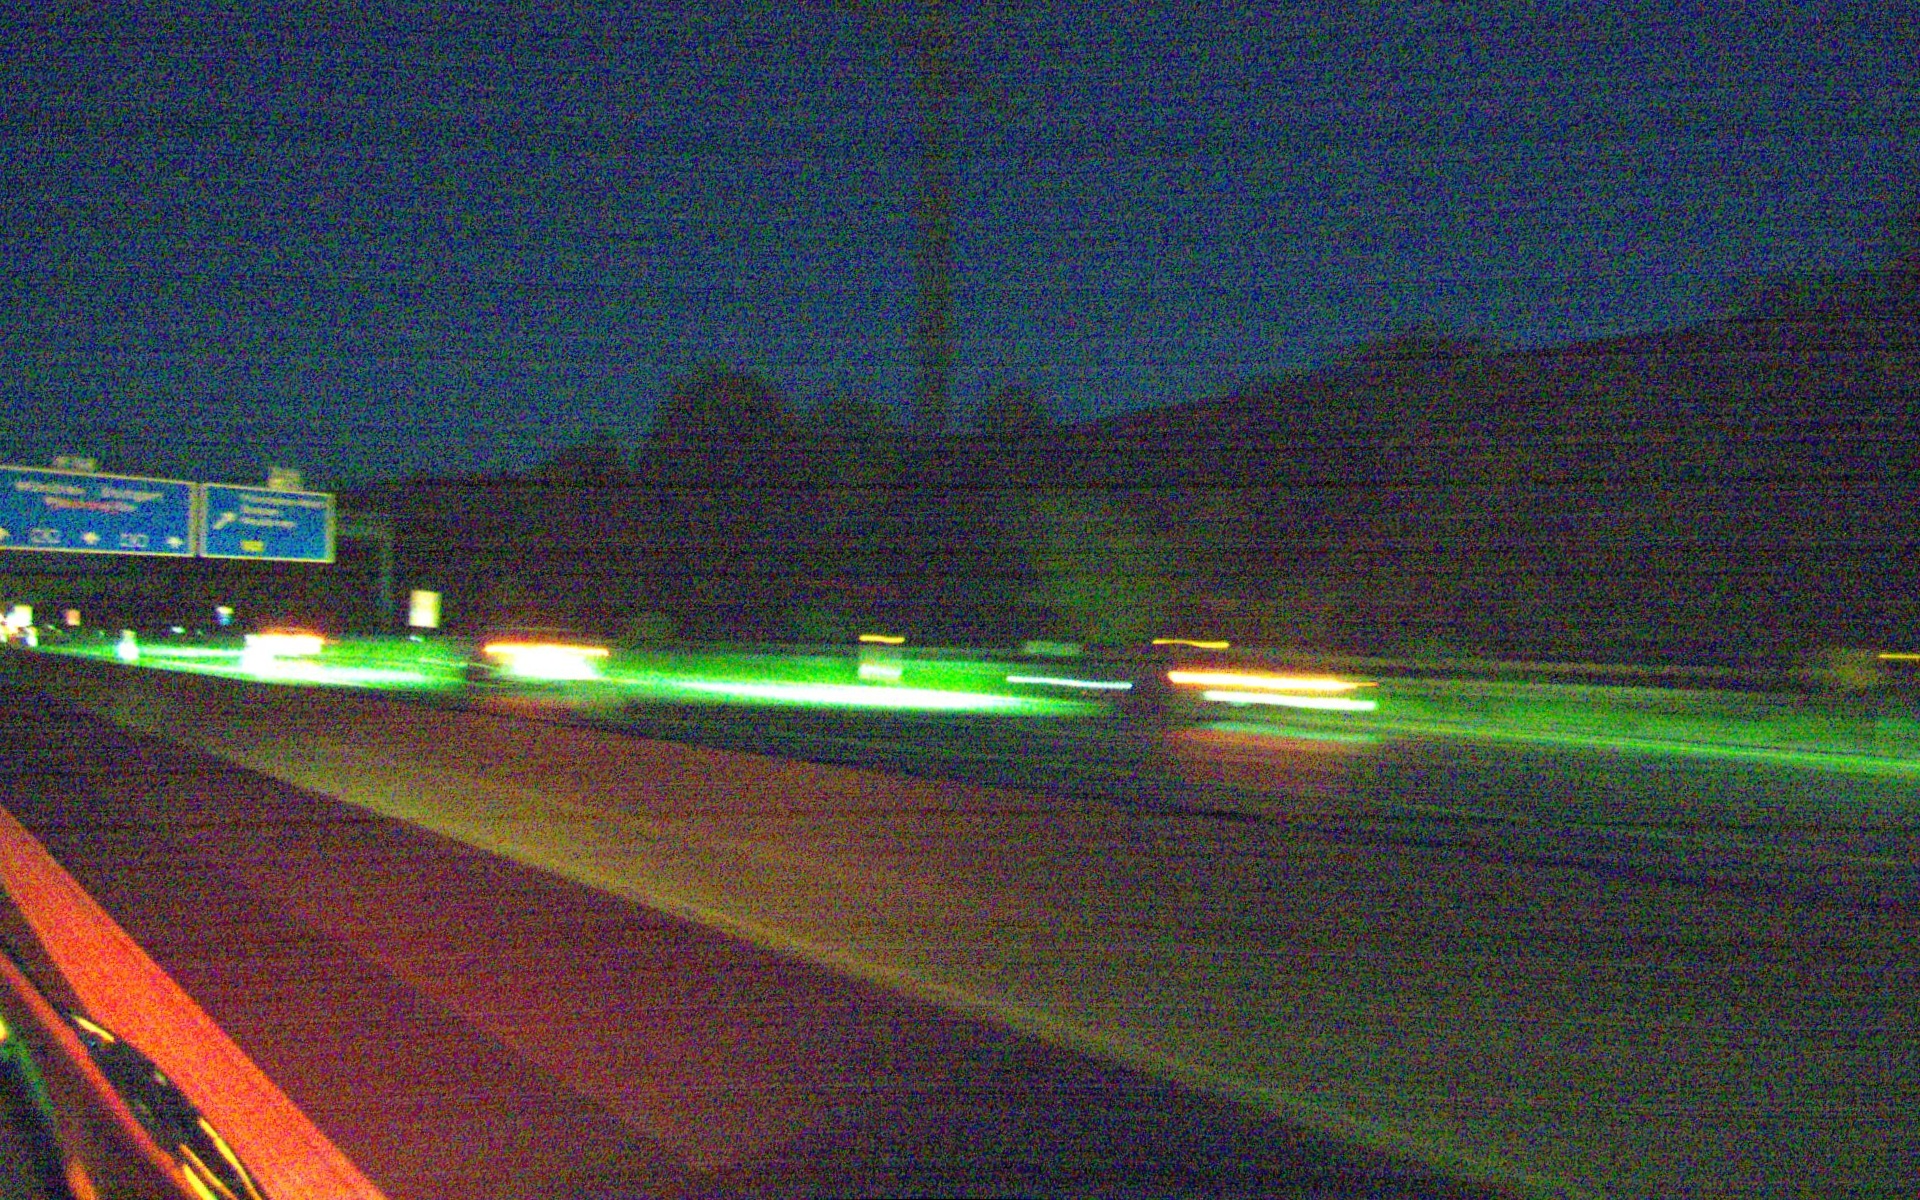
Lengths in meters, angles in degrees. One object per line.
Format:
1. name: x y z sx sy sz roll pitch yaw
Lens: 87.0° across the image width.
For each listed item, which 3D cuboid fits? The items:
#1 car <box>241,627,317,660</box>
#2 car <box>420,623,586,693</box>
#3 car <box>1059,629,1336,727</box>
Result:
1. car: -31.771 1.999 47.159 4.940 1.490 1.732 -1 -3 41
2. car: -10.792 1.293 23.728 4.761 1.490 1.732 -1 -3 42
3. car: 4.062 1.279 17.793 4.481 1.490 1.731 -1 -3 42
